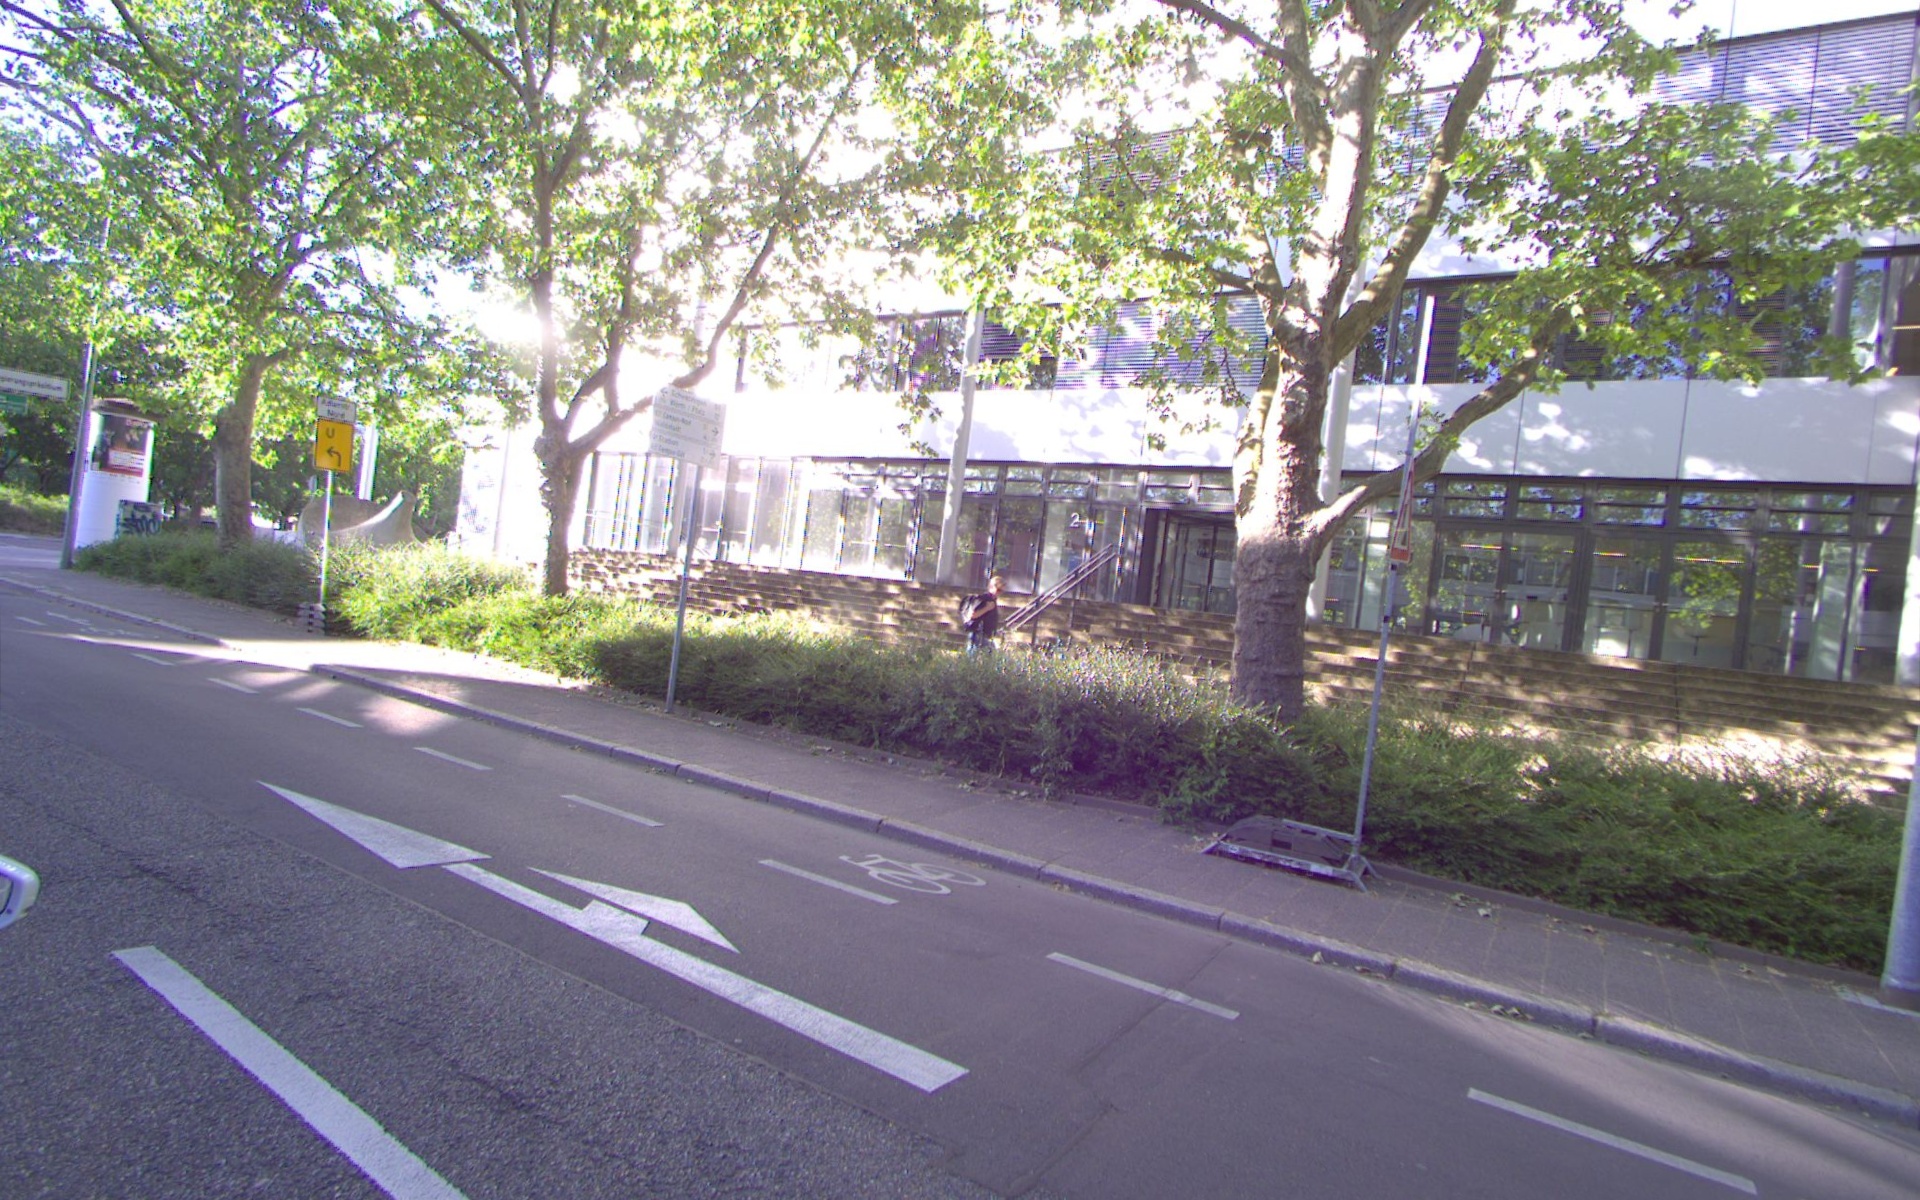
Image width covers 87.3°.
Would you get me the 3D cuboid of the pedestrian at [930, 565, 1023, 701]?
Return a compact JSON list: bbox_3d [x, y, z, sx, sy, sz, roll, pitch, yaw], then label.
[{"bbox_3d":[0.237,0.478,14.289,0.848,1.802,0.785,7,0,30],"label":"pedestrian"}]
